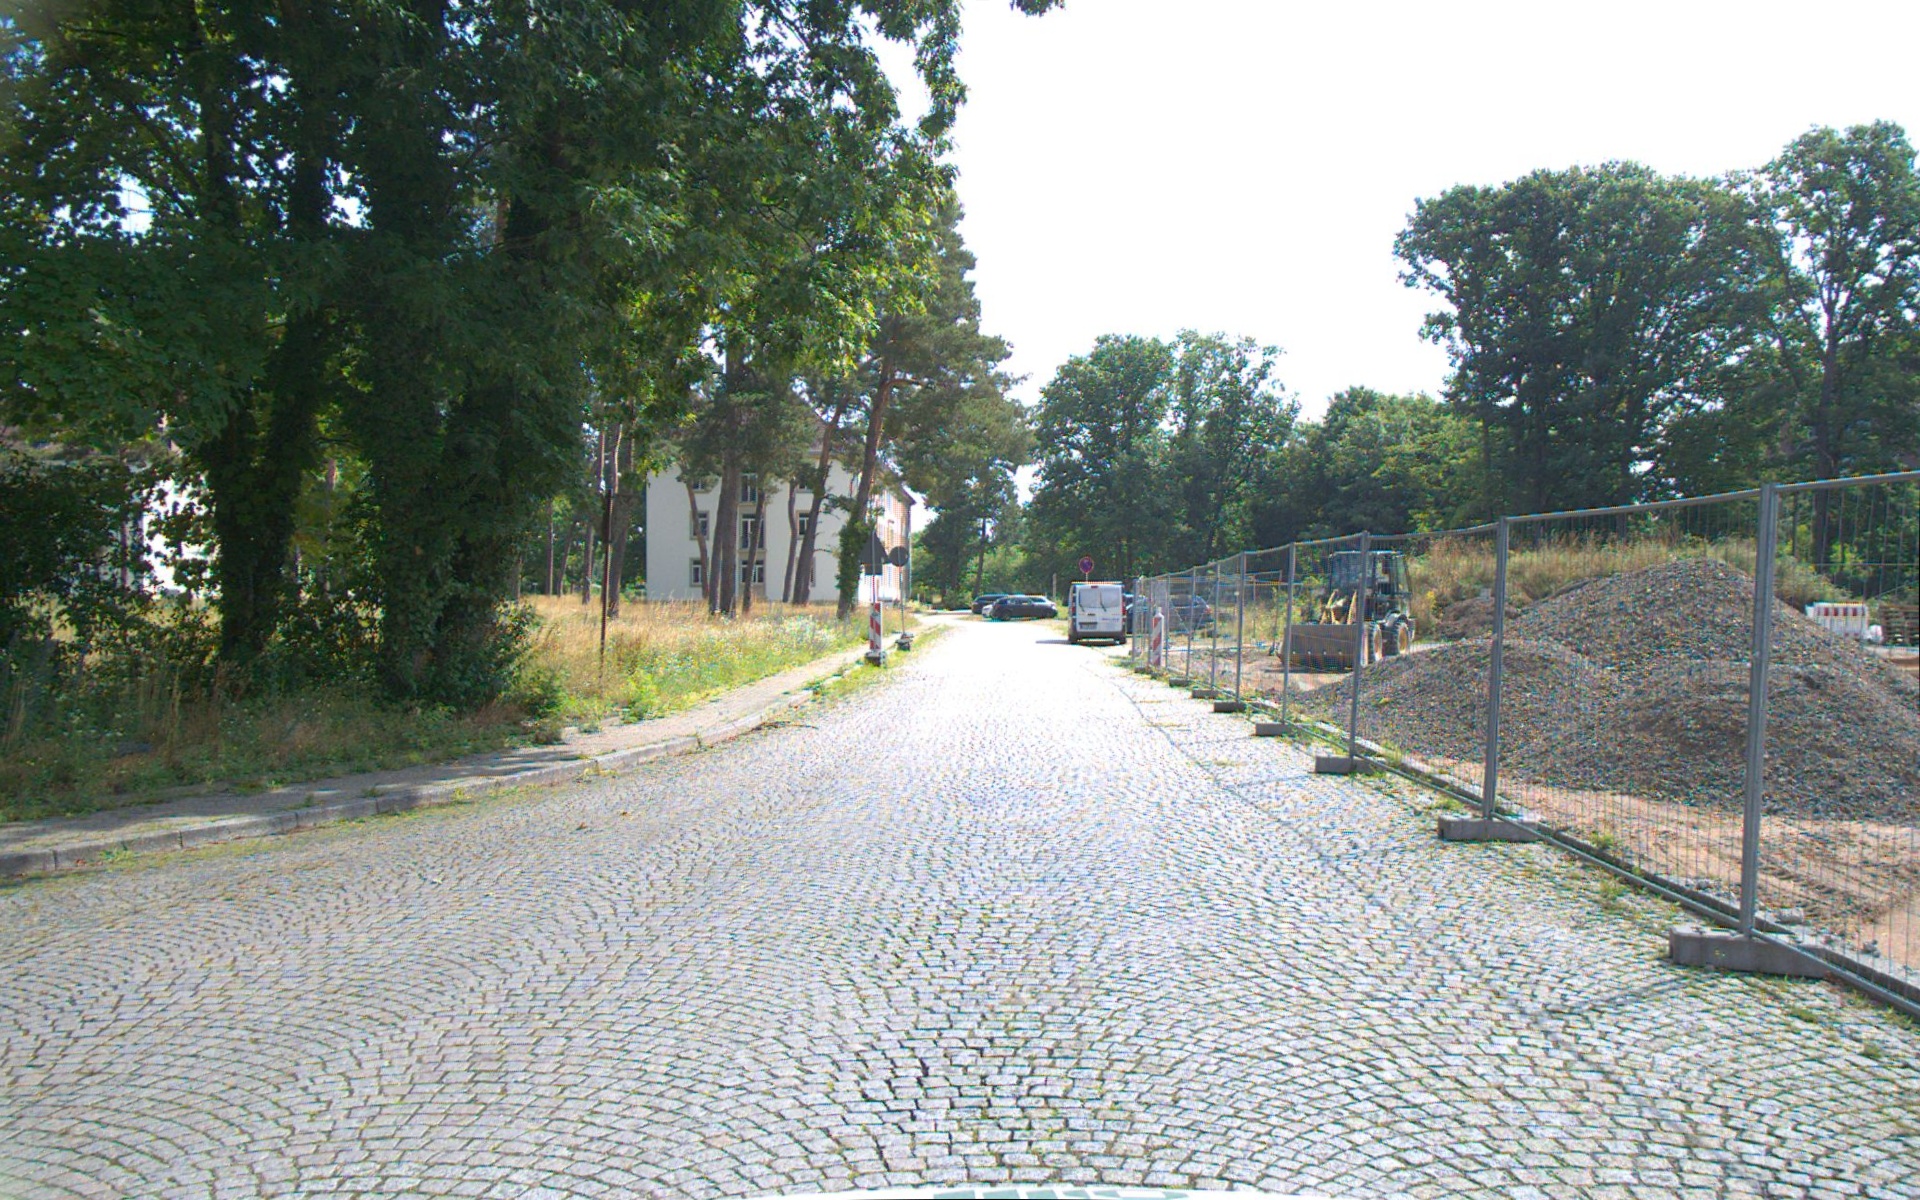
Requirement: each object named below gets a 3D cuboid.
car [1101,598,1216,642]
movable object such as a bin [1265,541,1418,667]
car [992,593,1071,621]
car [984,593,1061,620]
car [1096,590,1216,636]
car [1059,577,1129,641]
[{"bbox_3d":[7.696,0.759,63.994,4.309,1.537,2.002,1,0,9],"label":"car"},{"bbox_3d":[8.656,0.069,37.210,2.089,2.638,4.782,0,0,30],"label":"movable object such as a bin"},{"bbox_3d":[4.392,0.436,101.948,4.686,1.669,1.998,0,0,-5],"label":"car"},{"bbox_3d":[3.978,0.413,105.328,4.686,1.669,1.998,0,0,-5],"label":"car"},{"bbox_3d":[7.291,0.468,61.232,4.309,1.537,2.002,1,0,9],"label":"car"},{"bbox_3d":[4.452,0.273,55.440,1.953,2.049,4.091,0,0,0],"label":"car"}]
